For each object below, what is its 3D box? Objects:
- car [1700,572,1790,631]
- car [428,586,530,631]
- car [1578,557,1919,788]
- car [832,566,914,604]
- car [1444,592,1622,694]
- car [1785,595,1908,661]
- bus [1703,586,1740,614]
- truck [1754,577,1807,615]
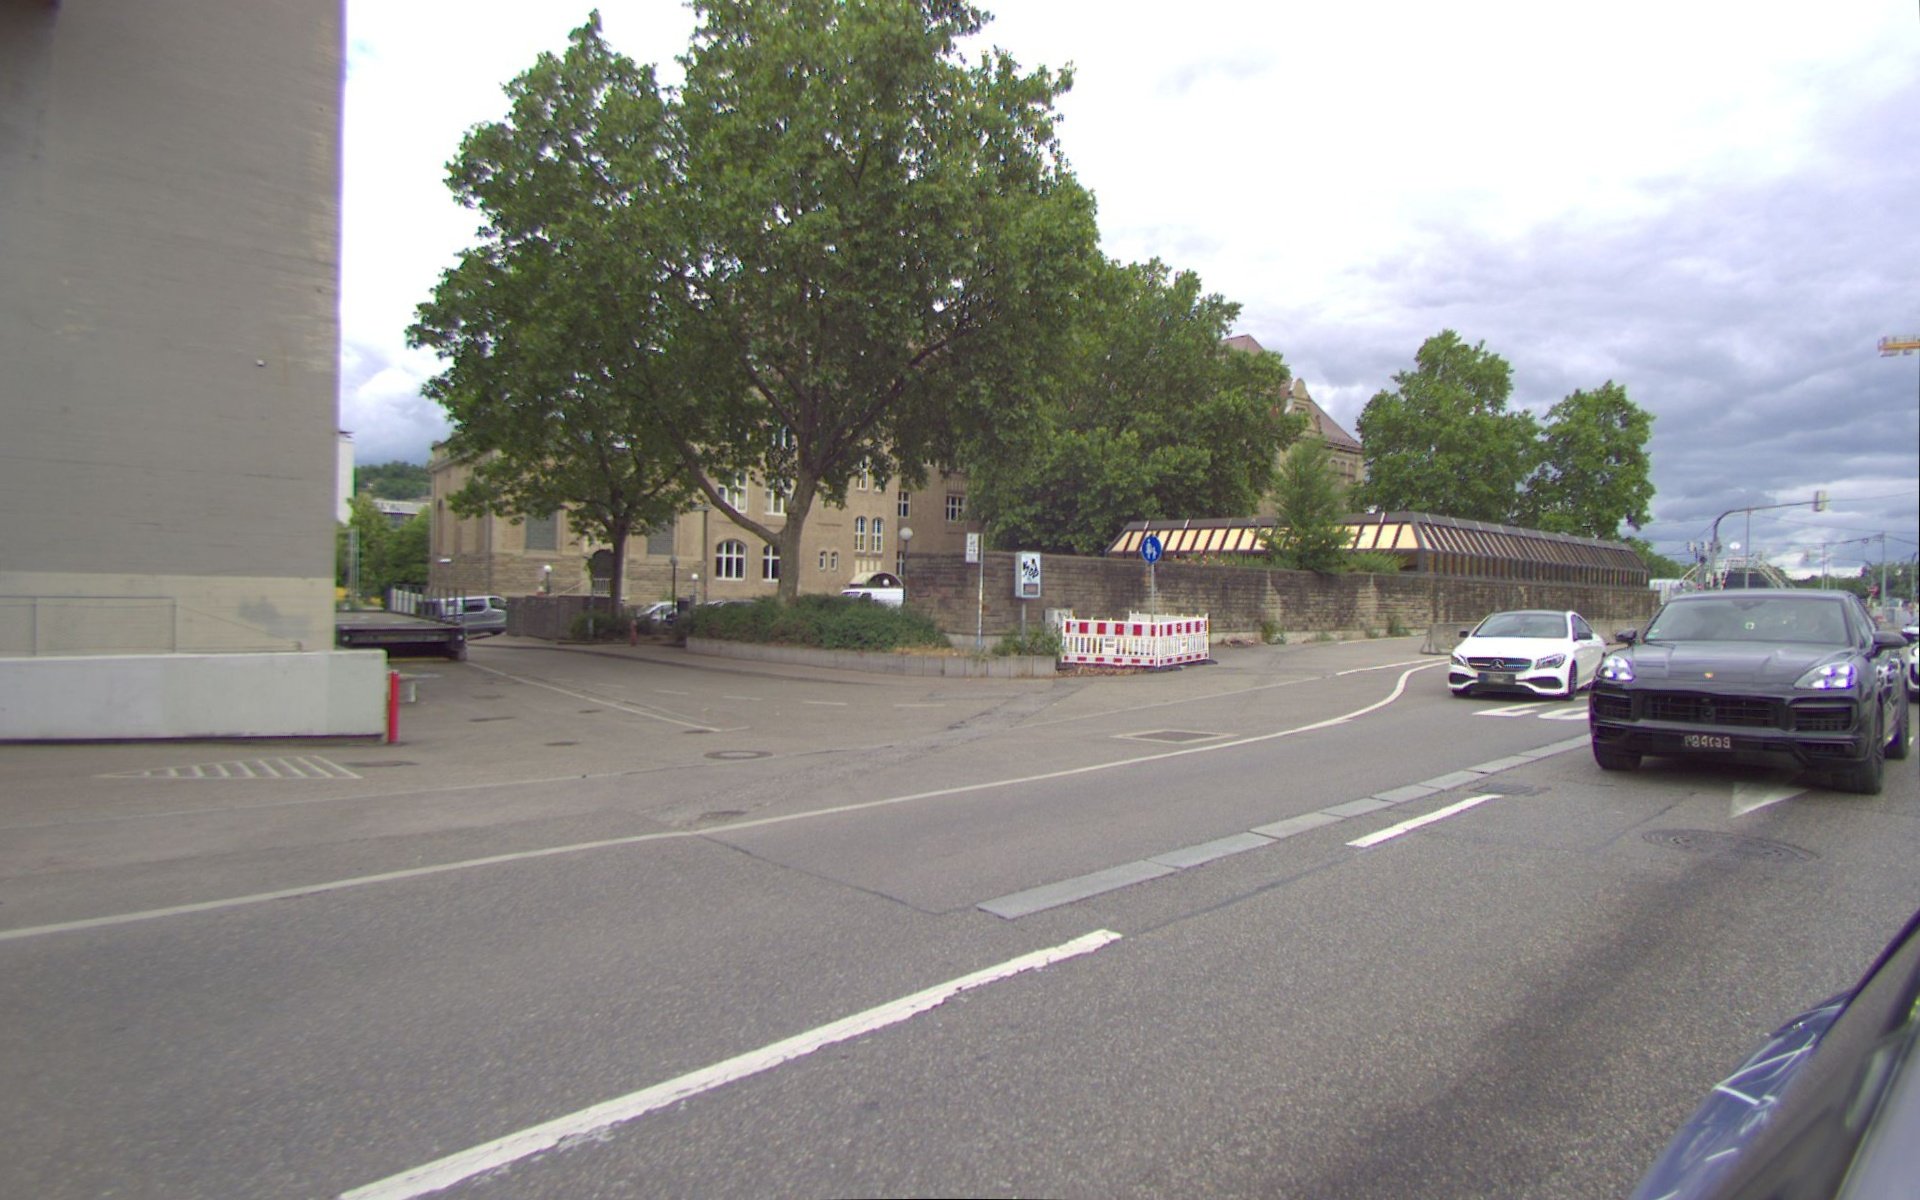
[{"bbox_3d":[29.057,0.045,37.417,3.610,1.961,1.936,1,3,-42],"label":"car"},{"bbox_3d":[-22.621,0.367,47.726,1.983,2.039,3.957,0,0,30],"label":"car"},{"bbox_3d":[7.682,0.546,9.603,4.530,1.669,1.952,0,-1,-43],"label":"car"},{"bbox_3d":[-4.452,-0.784,52.141,3.904,1.848,1.810,0,2,-42],"label":"car"},{"bbox_3d":[9.825,0.617,17.192,1.733,1.453,4.315,0,1,42],"label":"car"},{"bbox_3d":[22.890,0.676,26.081,4.340,1.488,1.732,1,2,-40],"label":"car"},{"bbox_3d":[95.547,-0.002,127.085,2.794,3.209,9.290,3,0,33],"label":"bus"},{"bbox_3d":[84.527,-0.427,104.442,2.888,3.721,8.928,2,1,31],"label":"truck"}]
